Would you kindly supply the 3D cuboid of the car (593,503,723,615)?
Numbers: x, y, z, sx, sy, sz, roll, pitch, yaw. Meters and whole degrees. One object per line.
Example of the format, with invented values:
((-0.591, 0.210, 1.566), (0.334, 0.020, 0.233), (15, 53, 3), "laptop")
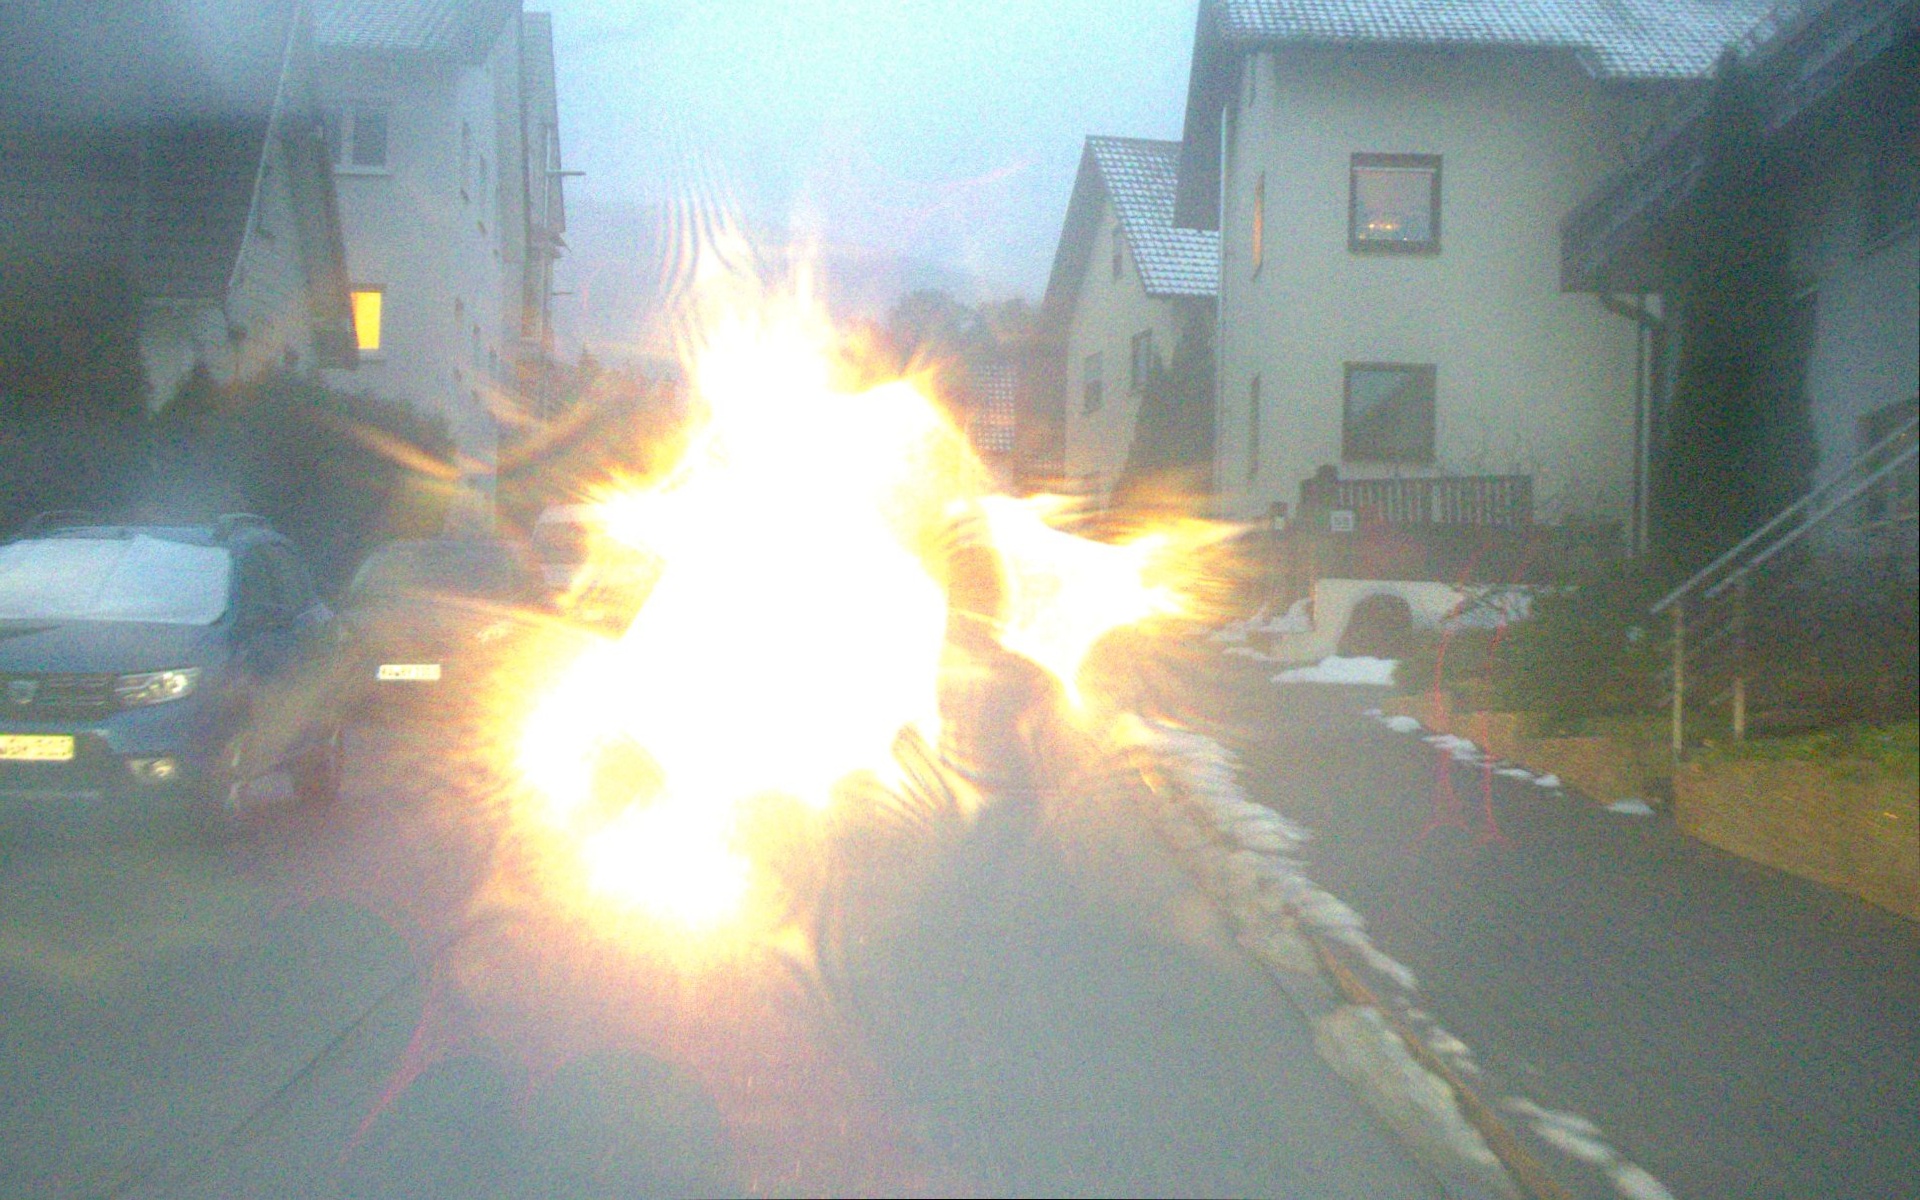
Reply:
((-5.002, -0.708, 57.397), (1.993, 1.794, 4.001), (0, 1, -3), "car")

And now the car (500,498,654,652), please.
((-4.822, -0.348, 43.116), (1.825, 1.829, 4.346), (0, 1, -7), "car")

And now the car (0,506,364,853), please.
((-4.291, 0.344, 17.839), (1.683, 1.579, 4.176), (1, 0, 0), "car")

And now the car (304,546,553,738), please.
((-4.500, 0.298, 29.628), (1.794, 1.498, 4.310), (0, 1, -5), "car")

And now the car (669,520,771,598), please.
((-5.248, -0.877, 75.691), (1.993, 1.644, 4.000), (0, 0, 0), "car")
